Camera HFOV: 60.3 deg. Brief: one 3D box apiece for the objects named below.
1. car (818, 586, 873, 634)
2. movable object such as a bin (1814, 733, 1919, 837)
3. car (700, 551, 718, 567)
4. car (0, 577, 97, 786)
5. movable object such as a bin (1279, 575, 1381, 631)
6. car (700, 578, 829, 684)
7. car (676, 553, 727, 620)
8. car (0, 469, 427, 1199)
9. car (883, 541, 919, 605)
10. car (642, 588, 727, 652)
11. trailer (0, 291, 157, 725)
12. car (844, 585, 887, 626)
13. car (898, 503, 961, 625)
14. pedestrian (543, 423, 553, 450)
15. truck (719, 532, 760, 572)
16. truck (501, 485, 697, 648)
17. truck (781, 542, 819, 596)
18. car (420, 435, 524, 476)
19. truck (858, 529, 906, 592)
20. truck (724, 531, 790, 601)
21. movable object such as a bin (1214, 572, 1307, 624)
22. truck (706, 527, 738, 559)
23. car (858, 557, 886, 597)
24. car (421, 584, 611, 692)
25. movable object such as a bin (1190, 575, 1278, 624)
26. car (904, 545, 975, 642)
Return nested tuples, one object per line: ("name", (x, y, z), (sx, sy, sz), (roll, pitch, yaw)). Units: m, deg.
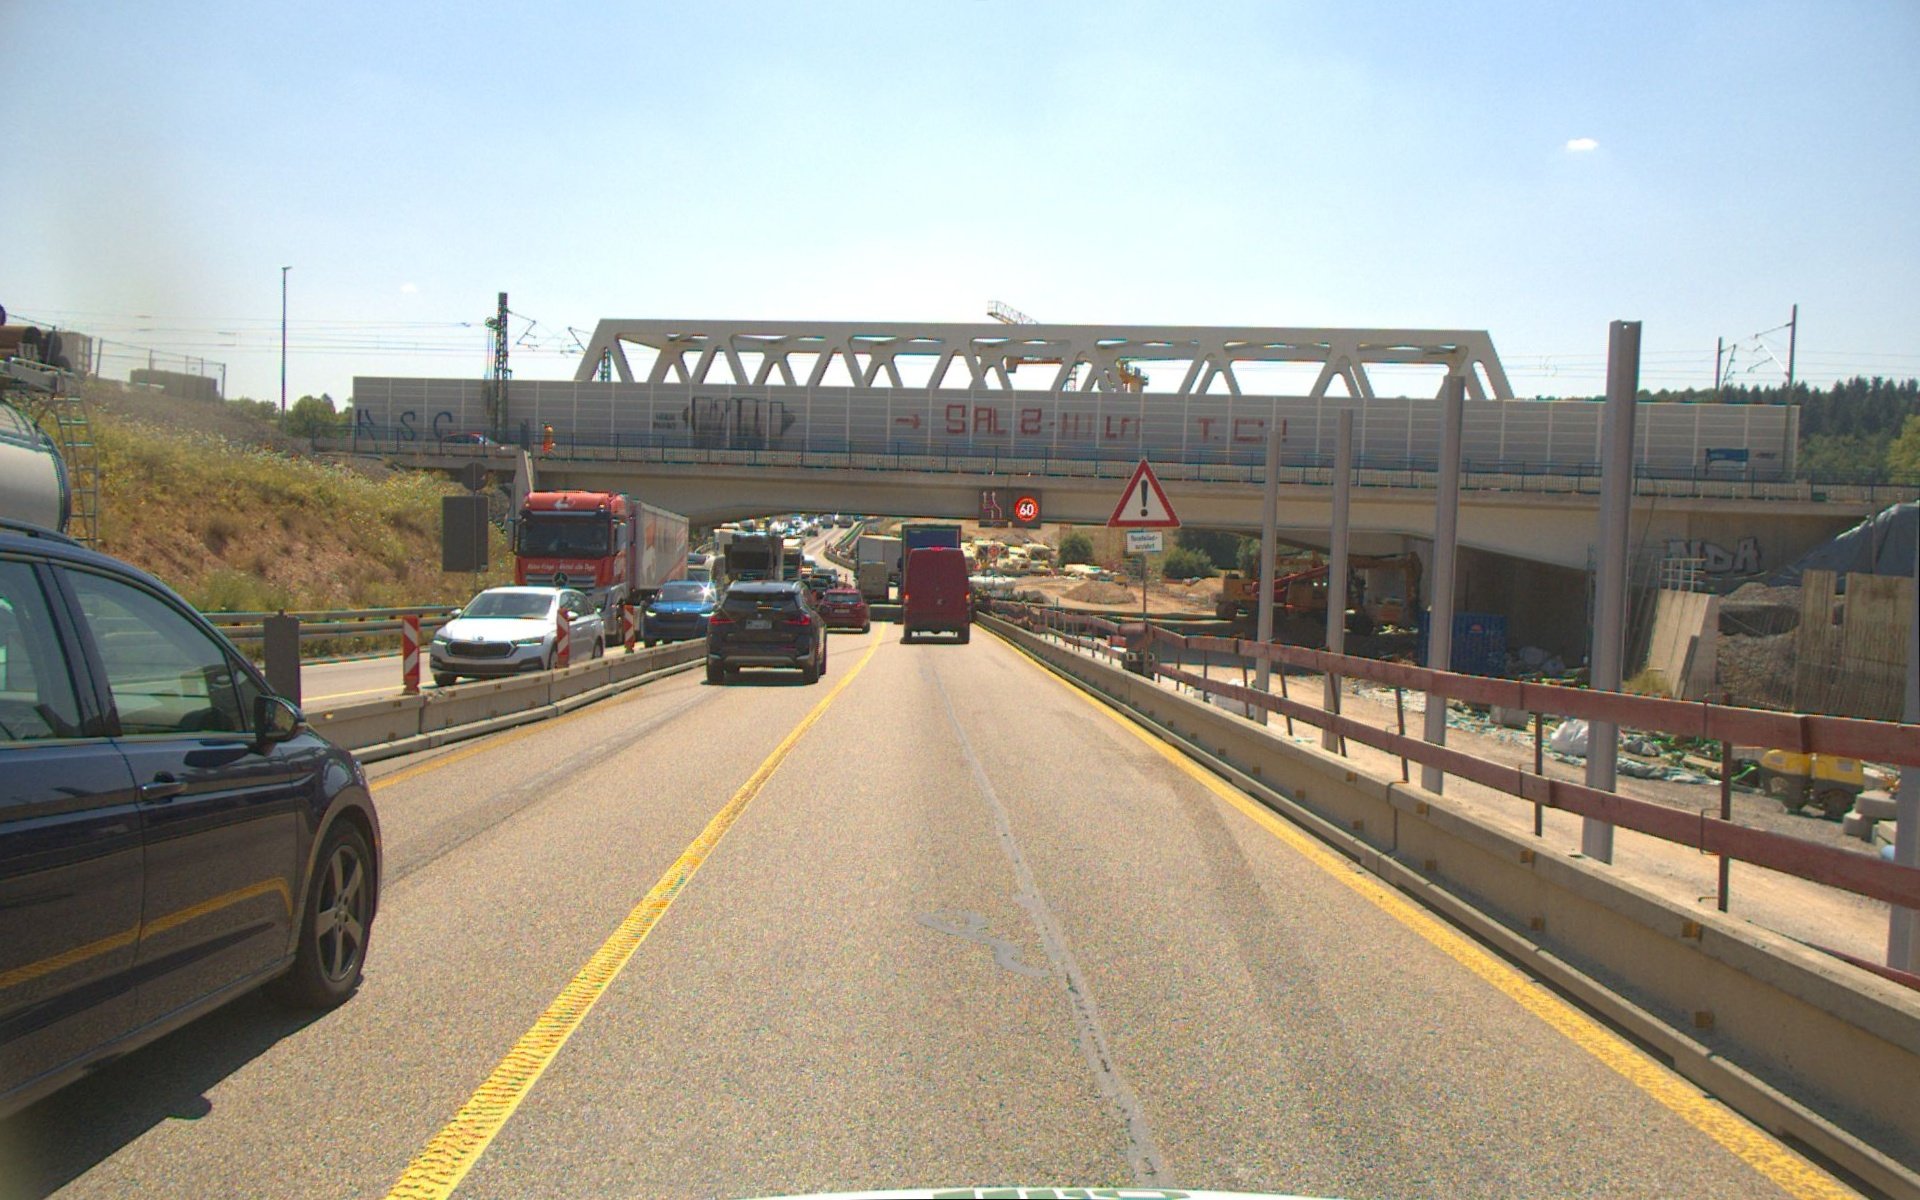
("car", (-3.885, 0.324, 56.705), (1.740, 1.543, 4.205), (0, 1, -2))
("movable object such as a bin", (16.990, 3.323, 29.414), (3.043, 1.590, 1.549), (2, 1, 34))
("car", (-30.018, -4.889, 197.500), (1.718, 1.780, 3.984), (1, 1, -15))
("car", (-7.470, 0.553, 10.091), (1.779, 1.408, 4.586), (1, 1, 3))
("movable object such as a bin", (19.822, 0.163, 88.818), (5.039, 2.856, 2.143), (1, 0, 3))
("car", (-3.235, 0.452, 28.133), (1.842, 1.646, 4.497), (0, 1, -3))
("car", (-10.928, -0.601, 70.251), (1.548, 2.700, 5.388), (1, 1, -3))
("car", (-2.979, 0.549, 4.389), (1.740, 1.748, 4.651), (1, 2, -2))
("car", (-4.045, -1.832, 112.962), (2.401, 4.233, 6.857), (0, 1, -3))
("car", (-6.849, 0.462, 41.442), (1.548, 1.471, 3.663), (1, 1, -1))
("trailer", (-10.313, -0.844, 12.646), (2.298, 4.085, 11.454), (1, 1, 2))
("car", (-4.089, 0.211, 71.713), (1.803, 1.683, 4.162), (0, 1, -3))
("car", (-1.483, -1.601, 74.755), (2.568, 5.120, 10.392), (0, 1, -3))
("pedestrian", (-19.659, -7.792, 78.917), (0.329, 1.232, 0.308), (1, 0, 11))
("truck", (-22.575, -4.832, 168.833), (2.787, 3.919, 12.866), (1, 1, -14))
("truck", (-9.826, -0.890, 46.766), (2.777, 3.919, 12.911), (1, 1, -1))
("truck", (-12.649, -2.412, 129.981), (2.780, 3.919, 12.895), (1, 1, -6))
("car", (-23.845, -7.060, 80.839), (4.456, 1.814, 1.962), (1, 1, 11))
("truck", (-7.287, -3.567, 152.257), (2.783, 5.492, 12.883), (1, 1, -10))
("truck", (-12.110, -2.017, 99.784), (2.778, 3.919, 12.907), (1, 1, -2))
("movable object such as a bin", (17.344, -0.104, 95.782), (5.039, 2.856, 2.143), (1, 0, 3))
("truck", (-31.341, -7.460, 217.391), (2.787, 3.919, 12.367), (1, 1, -14))
("car", (-5.652, -1.462, 106.244), (1.740, 2.483, 4.204), (0, 1, -3))
("car", (-6.690, 0.513, 25.368), (1.796, 1.471, 4.155), (1, 1, -1))
("movable object such as a bin", (16.559, -0.049, 100.253), (5.039, 2.856, 2.143), (1, 0, 3))
("car", (-0.653, -0.217, 48.806), (1.949, 2.737, 4.621), (0, 1, -3))
